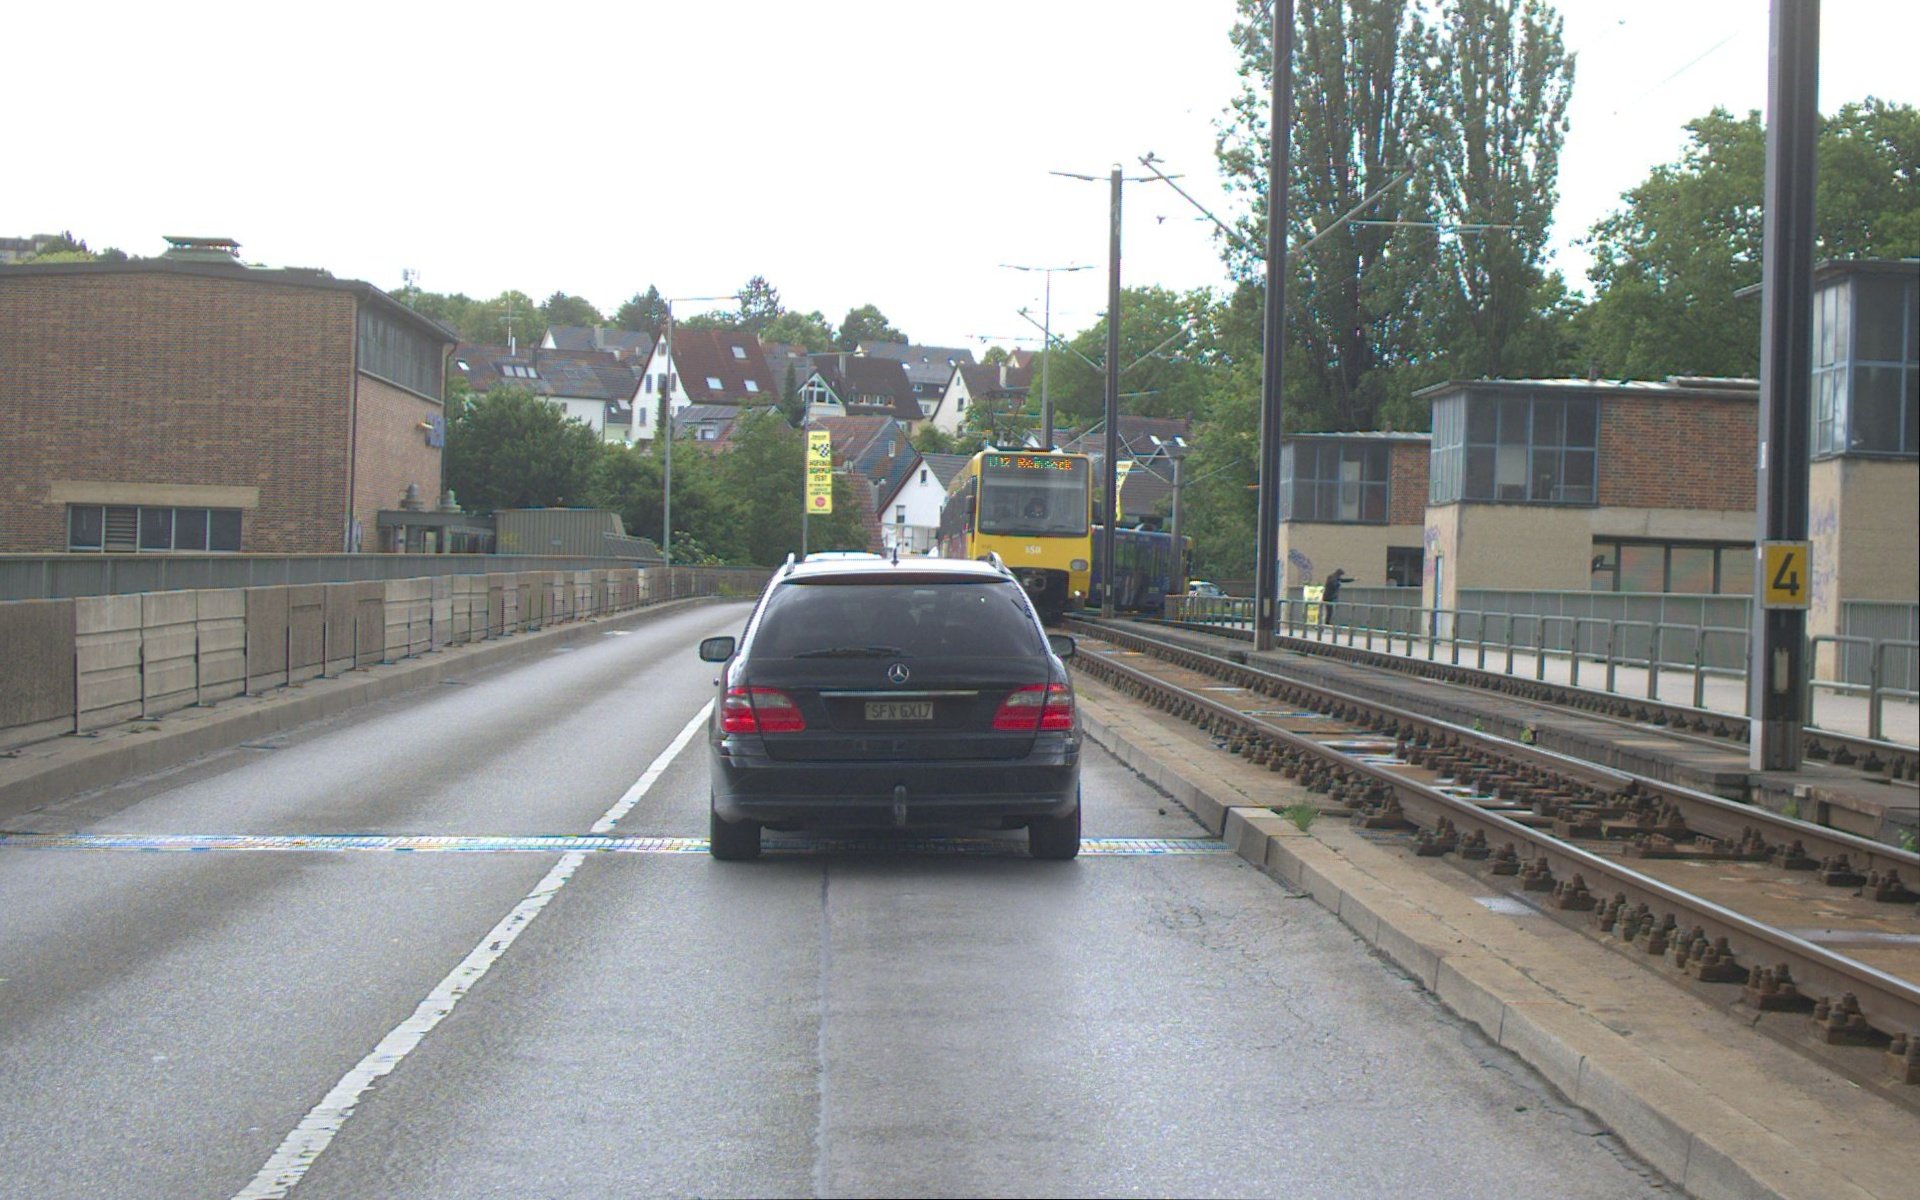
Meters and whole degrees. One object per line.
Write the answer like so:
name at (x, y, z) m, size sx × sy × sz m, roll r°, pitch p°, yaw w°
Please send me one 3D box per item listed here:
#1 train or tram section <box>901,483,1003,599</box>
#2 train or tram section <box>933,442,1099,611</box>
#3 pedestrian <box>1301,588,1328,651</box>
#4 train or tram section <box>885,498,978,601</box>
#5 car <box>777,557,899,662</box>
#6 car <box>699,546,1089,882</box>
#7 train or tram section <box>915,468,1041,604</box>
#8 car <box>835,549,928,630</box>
train or tram section at (-0.430, -1.857, 118.601) m, size 2.784 × 3.643 × 19.894 m, roll 0°, pitch 0°, yaw -2°
train or tram section at (1.092, -1.620, 80.751) m, size 2.882 × 3.497 × 18.668 m, roll 0°, pitch 1°, yaw -2°
pedestrian at (9.078, 0.499, 87.973) m, size 0.577 × 1.604 × 0.613 m, roll 1°, pitch 0°, yaw -1°
train or tram section at (-1.282, -1.884, 138.485) m, size 2.793 × 3.751 × 19.894 m, roll 2°, pitch 0°, yaw -3°
car at (-1.968, 0.124, 54.599) m, size 1.770 × 1.550 × 4.241 m, roll 1°, pitch 1°, yaw -4°
car at (-0.304, 0.487, 17.833) m, size 1.759 × 1.510 × 4.442 m, roll 0°, pitch 1°, yaw 0°
train or tram section at (0.344, -1.768, 99.369) m, size 2.829 × 3.568 × 18.668 m, roll 0°, pitch 1°, yaw -2°
car at (-1.568, -0.240, 69.603) m, size 1.793 × 1.550 × 4.385 m, roll -1°, pitch 1°, yaw -1°
